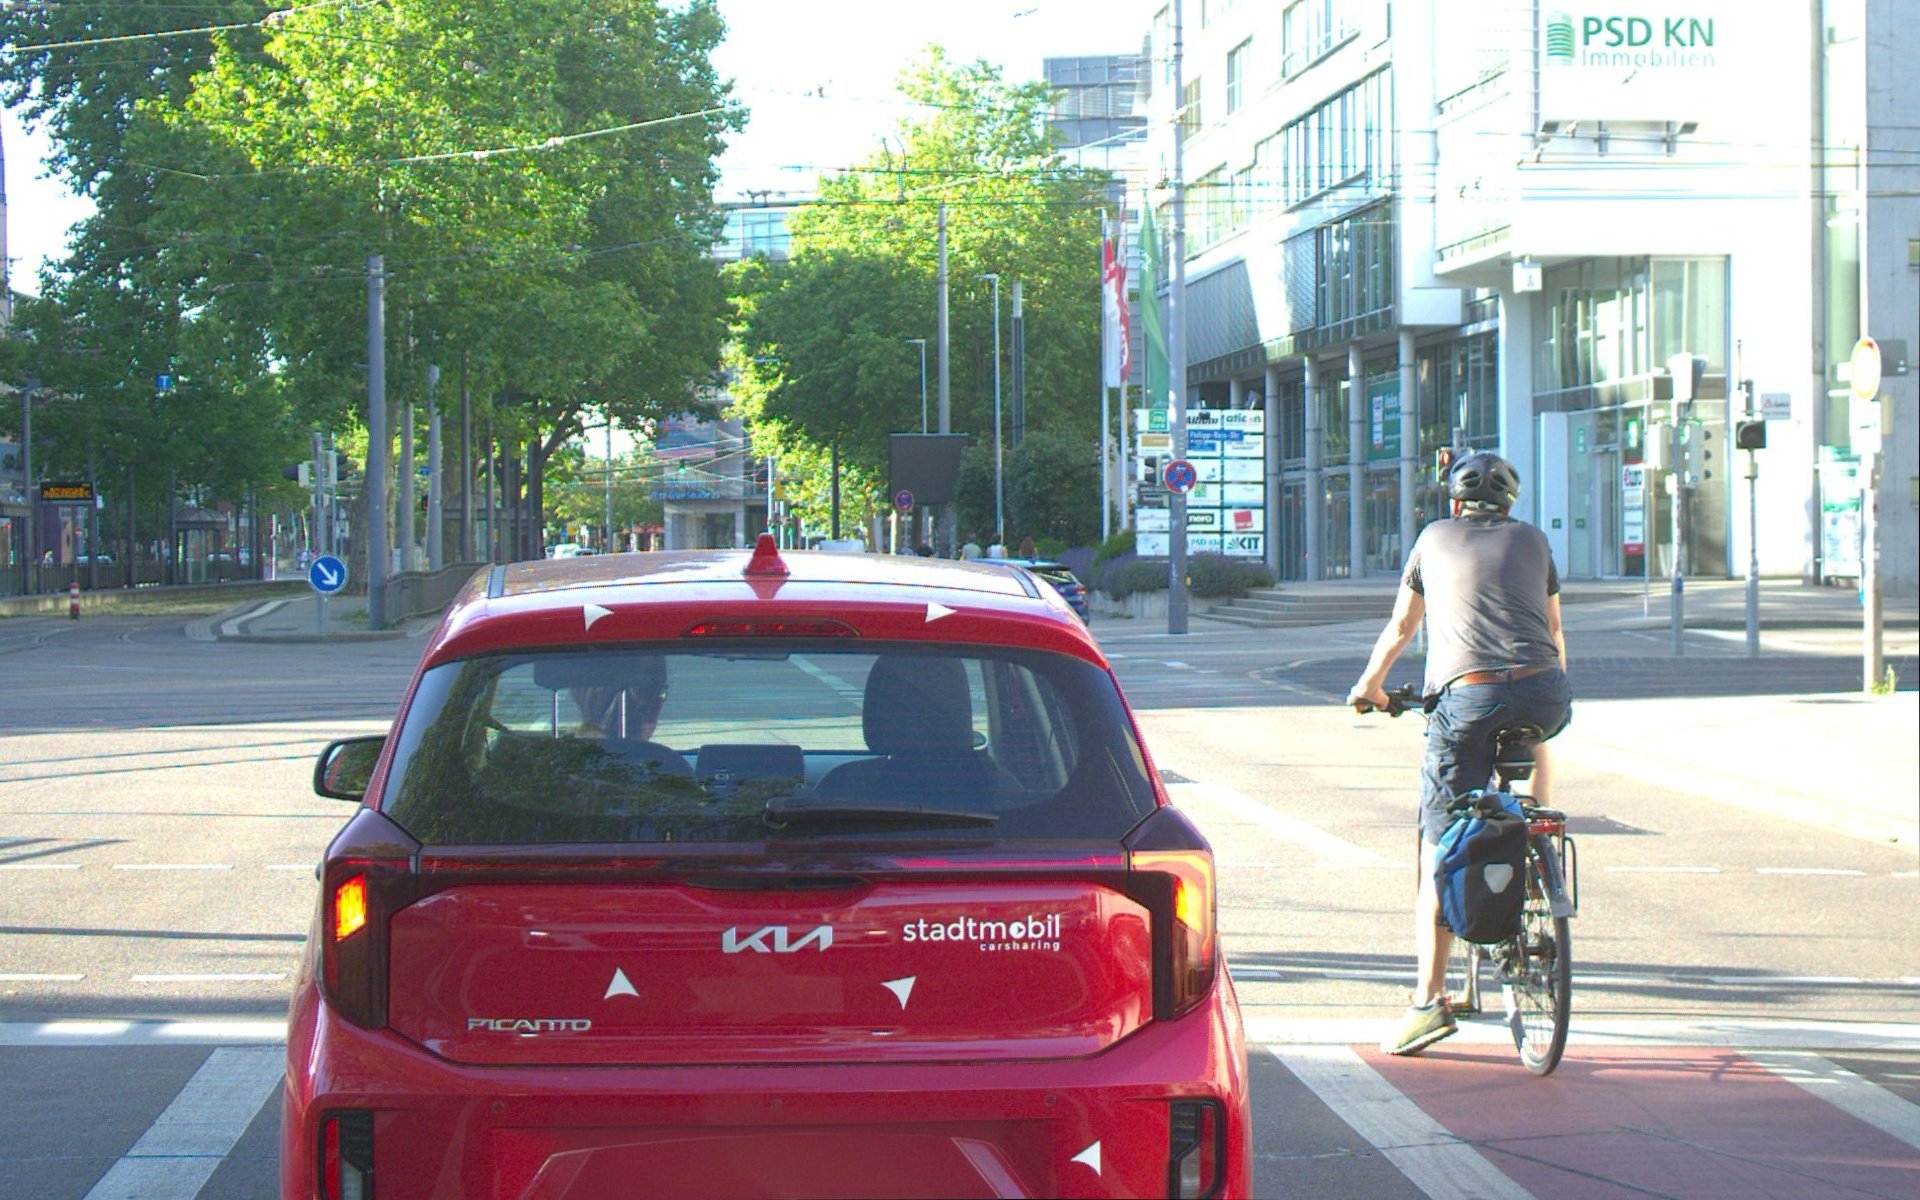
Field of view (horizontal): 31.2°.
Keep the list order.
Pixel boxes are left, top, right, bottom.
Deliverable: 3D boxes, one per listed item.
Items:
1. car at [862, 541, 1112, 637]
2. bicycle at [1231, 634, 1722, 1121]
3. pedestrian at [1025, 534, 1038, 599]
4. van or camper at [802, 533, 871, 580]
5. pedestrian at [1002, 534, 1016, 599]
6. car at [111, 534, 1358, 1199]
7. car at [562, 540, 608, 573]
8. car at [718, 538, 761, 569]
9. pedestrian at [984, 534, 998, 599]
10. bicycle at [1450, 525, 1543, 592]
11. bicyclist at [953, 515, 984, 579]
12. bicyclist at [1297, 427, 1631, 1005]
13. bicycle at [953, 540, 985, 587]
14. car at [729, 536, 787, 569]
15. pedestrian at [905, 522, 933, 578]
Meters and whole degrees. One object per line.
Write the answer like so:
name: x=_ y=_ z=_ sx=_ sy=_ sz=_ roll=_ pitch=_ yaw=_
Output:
car: x=0.437 y=-0.206 z=59.275 sx=1.844 sy=1.562 sz=4.271 roll=-2 pitch=2 yaw=-43
bicycle: x=1.481 y=0.761 z=10.325 sx=0.743 sy=1.220 sz=2.157 roll=1 pitch=1 yaw=-11
pedestrian: x=1.723 y=-0.798 z=82.564 sx=0.294 sy=1.556 sz=0.314 roll=-1 pitch=1 yaw=2
van or camper: x=-4.776 y=-1.686 z=132.384 sx=2.145 sy=1.744 sz=4.433 roll=-1 pitch=1 yaw=-8
pedestrian: x=1.180 y=-0.799 z=82.438 sx=0.294 sy=1.556 sz=0.356 roll=-1 pitch=1 yaw=-3
car: x=-0.486 y=0.621 z=6.965 sx=1.839 sy=1.484 sz=3.717 roll=-1 pitch=1 yaw=-5
car: x=-19.181 y=-2.241 z=175.628 sx=2.057 sy=1.648 sz=3.493 roll=-1 pitch=1 yaw=-10
car: x=-11.595 y=-2.450 z=180.770 sx=1.884 sy=1.523 sz=4.433 roll=-1 pitch=1 yaw=-8
pedestrian: x=0.748 y=-0.799 z=82.372 sx=0.294 sy=1.556 sz=0.302 roll=-1 pitch=1 yaw=-4
bicycle: x=11.750 y=-0.907 z=75.286 sx=1.934 sy=1.438 sz=0.575 roll=-1 pitch=1 yaw=-6
bicyclist: x=0.223 y=-1.350 z=87.778 sx=0.785 sy=1.629 sz=0.639 roll=-1 pitch=1 yaw=1
bicyclist: x=1.497 y=0.329 z=10.316 sx=0.743 sy=1.663 sz=0.745 roll=1 pitch=1 yaw=-11
bicycle: x=0.235 y=-0.939 z=87.793 sx=0.792 sy=1.157 sz=2.500 roll=-1 pitch=1 yaw=0
car: x=-9.803 y=-2.298 z=166.450 sx=2.478 sy=1.523 sz=4.433 roll=-1 pitch=1 yaw=-7
pedestrian: x=-1.262 y=-1.545 z=106.021 sx=0.742 sy=1.710 sz=0.748 roll=-1 pitch=1 yaw=-9
